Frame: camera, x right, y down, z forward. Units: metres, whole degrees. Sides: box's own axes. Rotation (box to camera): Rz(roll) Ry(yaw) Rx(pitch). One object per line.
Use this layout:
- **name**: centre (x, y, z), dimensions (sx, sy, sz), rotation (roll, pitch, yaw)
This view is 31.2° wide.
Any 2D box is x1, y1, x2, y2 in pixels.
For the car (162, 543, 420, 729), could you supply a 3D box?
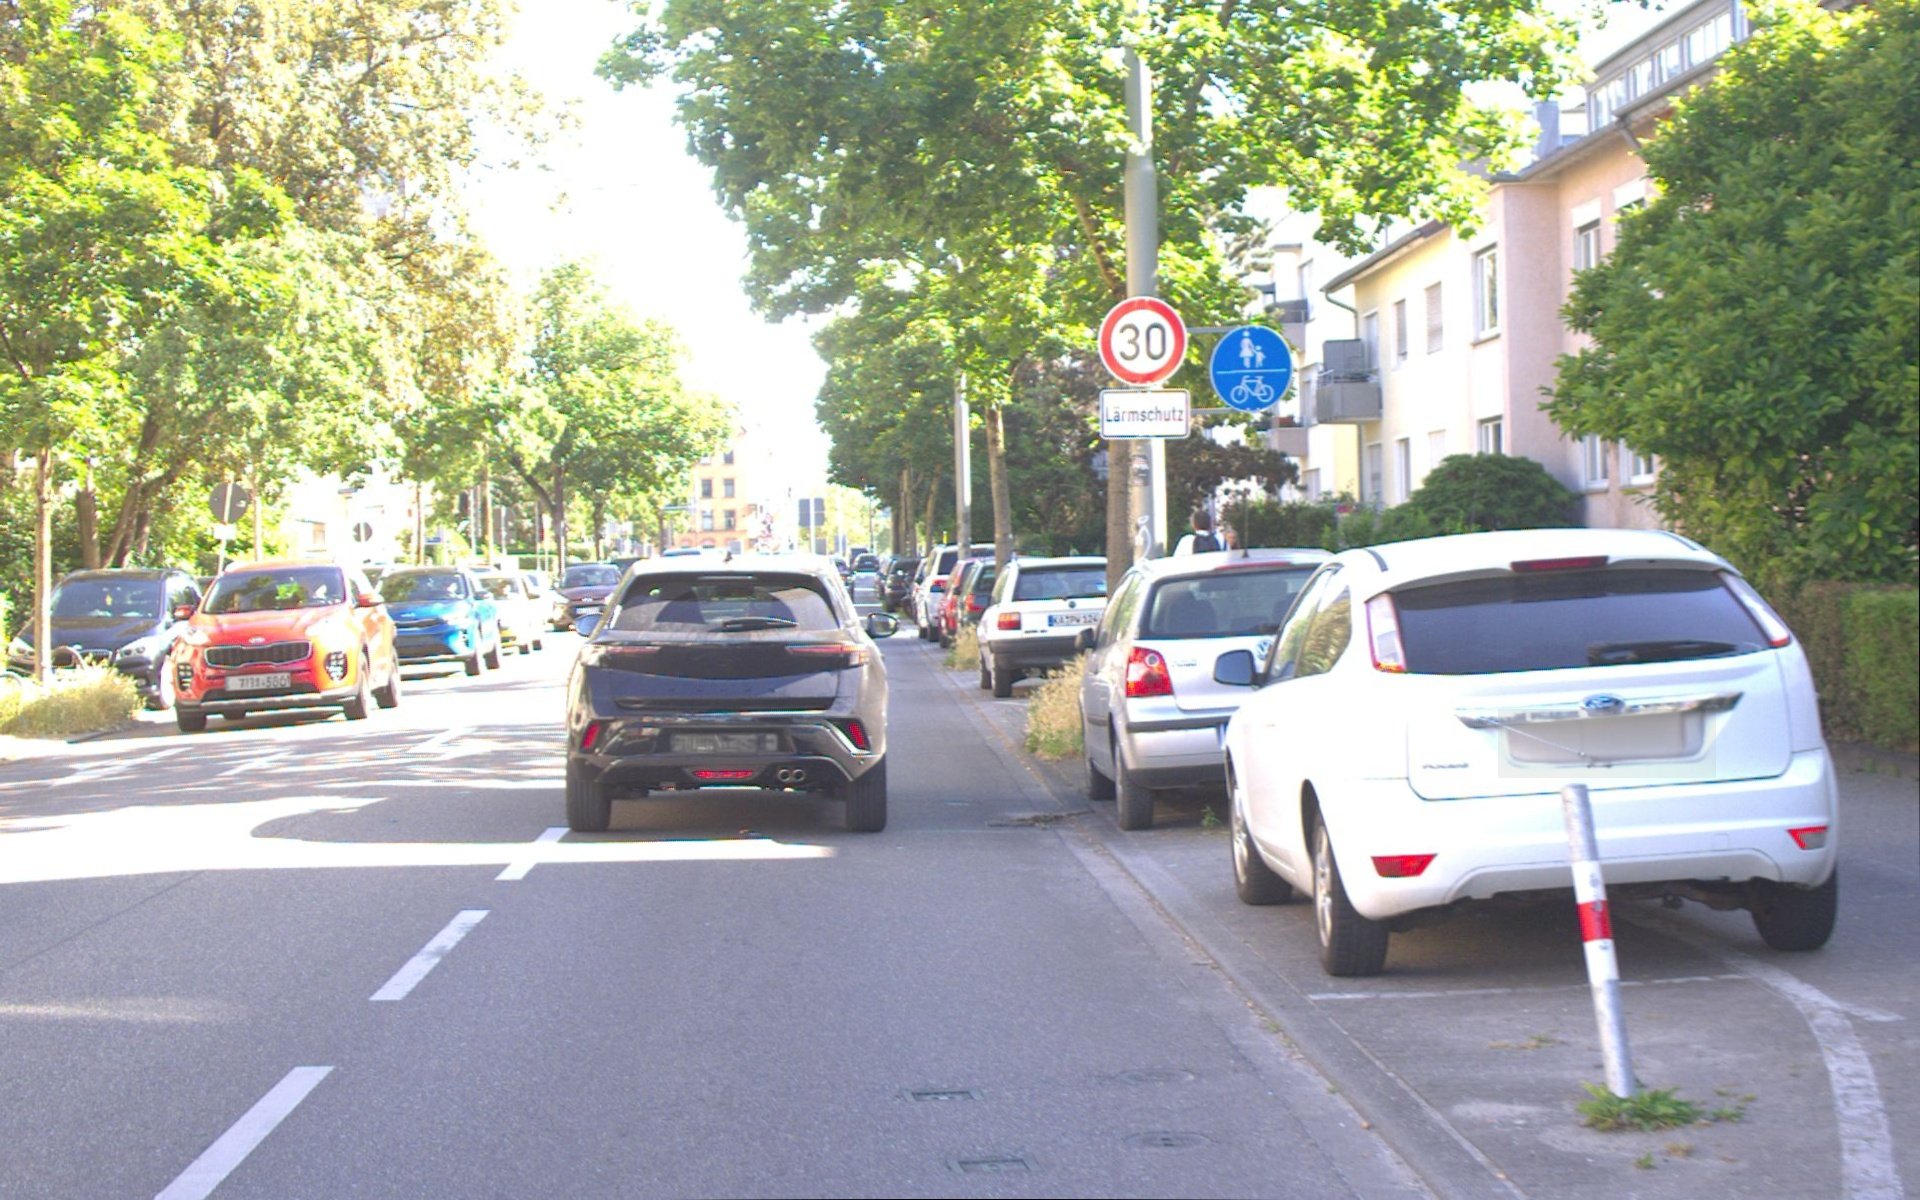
- **car**: centre (-6.707, 0.304, 34.884), dimensions (1.721, 1.611, 4.300), rotation (-4, 1, -1)

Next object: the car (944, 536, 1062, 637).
- **car**: centre (0.635, -0.234, 53.460), dimensions (1.531, 1.444, 3.718), rotation (-2, 1, -3)

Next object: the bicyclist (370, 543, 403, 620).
- **bicyclist**: centre (-13.105, -0.425, 78.538), dimensions (0.608, 1.748, 0.691), rotation (-2, 1, -2)

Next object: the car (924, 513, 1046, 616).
- **car**: centre (0.403, -0.639, 60.099), dimensions (1.768, 1.653, 4.342), rotation (-3, 1, -3)

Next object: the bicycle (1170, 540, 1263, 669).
- **bicycle**: centre (2.596, 0.028, 34.950), dimensions (0.698, 1.242, 1.822), rotation (-3, 1, -2)

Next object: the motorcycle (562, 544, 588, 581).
- **motorcycle**: centre (-12.197, -1.197, 108.906), dimensions (0.461, 1.122, 1.717), rotation (-1, 1, 6)

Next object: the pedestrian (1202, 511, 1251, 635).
- **pedestrian**: centre (3.650, -0.370, 47.090), dimensions (0.538, 1.671, 0.493), rotation (-3, 1, -2)

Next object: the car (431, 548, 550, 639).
- **car**: centre (-7.979, -0.130, 58.696), dimensions (1.634, 1.398, 3.737), rotation (-4, 1, -3)

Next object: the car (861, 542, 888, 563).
- **car**: centre (-6.448, -3.586, 259.669), dimensions (1.993, 1.514, 4.000), rotation (1, 1, 0)

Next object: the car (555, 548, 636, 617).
- **car**: centre (-8.321, -0.414, 78.686), dimensions (1.581, 1.446, 3.745), rotation (-3, 1, -3)

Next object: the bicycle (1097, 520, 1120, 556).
- **bicycle**: centre (5.517, -2.313, 127.757), dimensions (0.623, 1.283, 1.842), rotation (-4, 1, -1)

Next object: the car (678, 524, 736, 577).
- **car**: centre (-9.866, -1.944, 134.417), dimensions (2.016, 1.945, 5.179), rotation (-4, 1, -3)

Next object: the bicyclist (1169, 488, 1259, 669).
- **bicyclist**: centre (2.585, -0.229, 35.090), dimensions (0.724, 1.787, 1.016), rotation (-3, 1, -2)

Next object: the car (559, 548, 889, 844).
- **car**: centre (-1.313, 0.483, 20.085), dimensions (1.745, 1.568, 3.558), rotation (0, 1, -2)

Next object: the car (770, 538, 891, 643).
- **car**: centre (-2.050, -0.185, 55.355), dimensions (1.830, 1.573, 3.840), rotation (-2, 1, -1)

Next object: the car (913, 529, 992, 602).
- **car**: centre (-0.176, -0.779, 75.591), dimensions (1.620, 1.494, 3.649), rotation (-2, 1, 0)

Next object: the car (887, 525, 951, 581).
- **car**: centre (-1.106, -1.267, 91.905), dimensions (1.586, 1.391, 4.454), rotation (-3, 1, -1)

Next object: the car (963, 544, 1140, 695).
- **car**: centre (0.918, 0.164, 36.392), dimensions (1.649, 1.398, 3.970), rotation (-3, 1, -1)

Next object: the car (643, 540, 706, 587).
- **car**: centre (-9.352, -1.206, 112.857), dimensions (1.733, 1.407, 4.192), rotation (-4, 1, -2)

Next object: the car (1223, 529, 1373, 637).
- **car**: centre (4.713, -0.260, 48.337), dimensions (1.531, 1.351, 3.718), rotation (-4, 1, -2)

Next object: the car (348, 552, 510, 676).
- **car**: centre (-7.359, 0.159, 47.943), dimensions (1.655, 1.512, 4.077), rotation (-4, 1, -2)

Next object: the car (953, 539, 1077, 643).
- **car**: centre (0.748, -0.157, 48.983), dimensions (1.531, 1.351, 3.718), rotation (-2, 1, -2)

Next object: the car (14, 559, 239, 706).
- **car**: centre (-9.796, 0.337, 40.711), dimensions (1.670, 1.599, 4.395), rotation (-1, 1, -1)

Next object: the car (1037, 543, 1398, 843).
- **car**: centre (1.361, 0.447, 19.519), dimensions (1.567, 1.452, 3.865), rotation (-3, 1, -2)

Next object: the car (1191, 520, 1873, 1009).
- **car**: centre (1.977, 0.496, 13.107), dimensions (1.739, 1.477, 4.196), rotation (-3, 1, -1)
